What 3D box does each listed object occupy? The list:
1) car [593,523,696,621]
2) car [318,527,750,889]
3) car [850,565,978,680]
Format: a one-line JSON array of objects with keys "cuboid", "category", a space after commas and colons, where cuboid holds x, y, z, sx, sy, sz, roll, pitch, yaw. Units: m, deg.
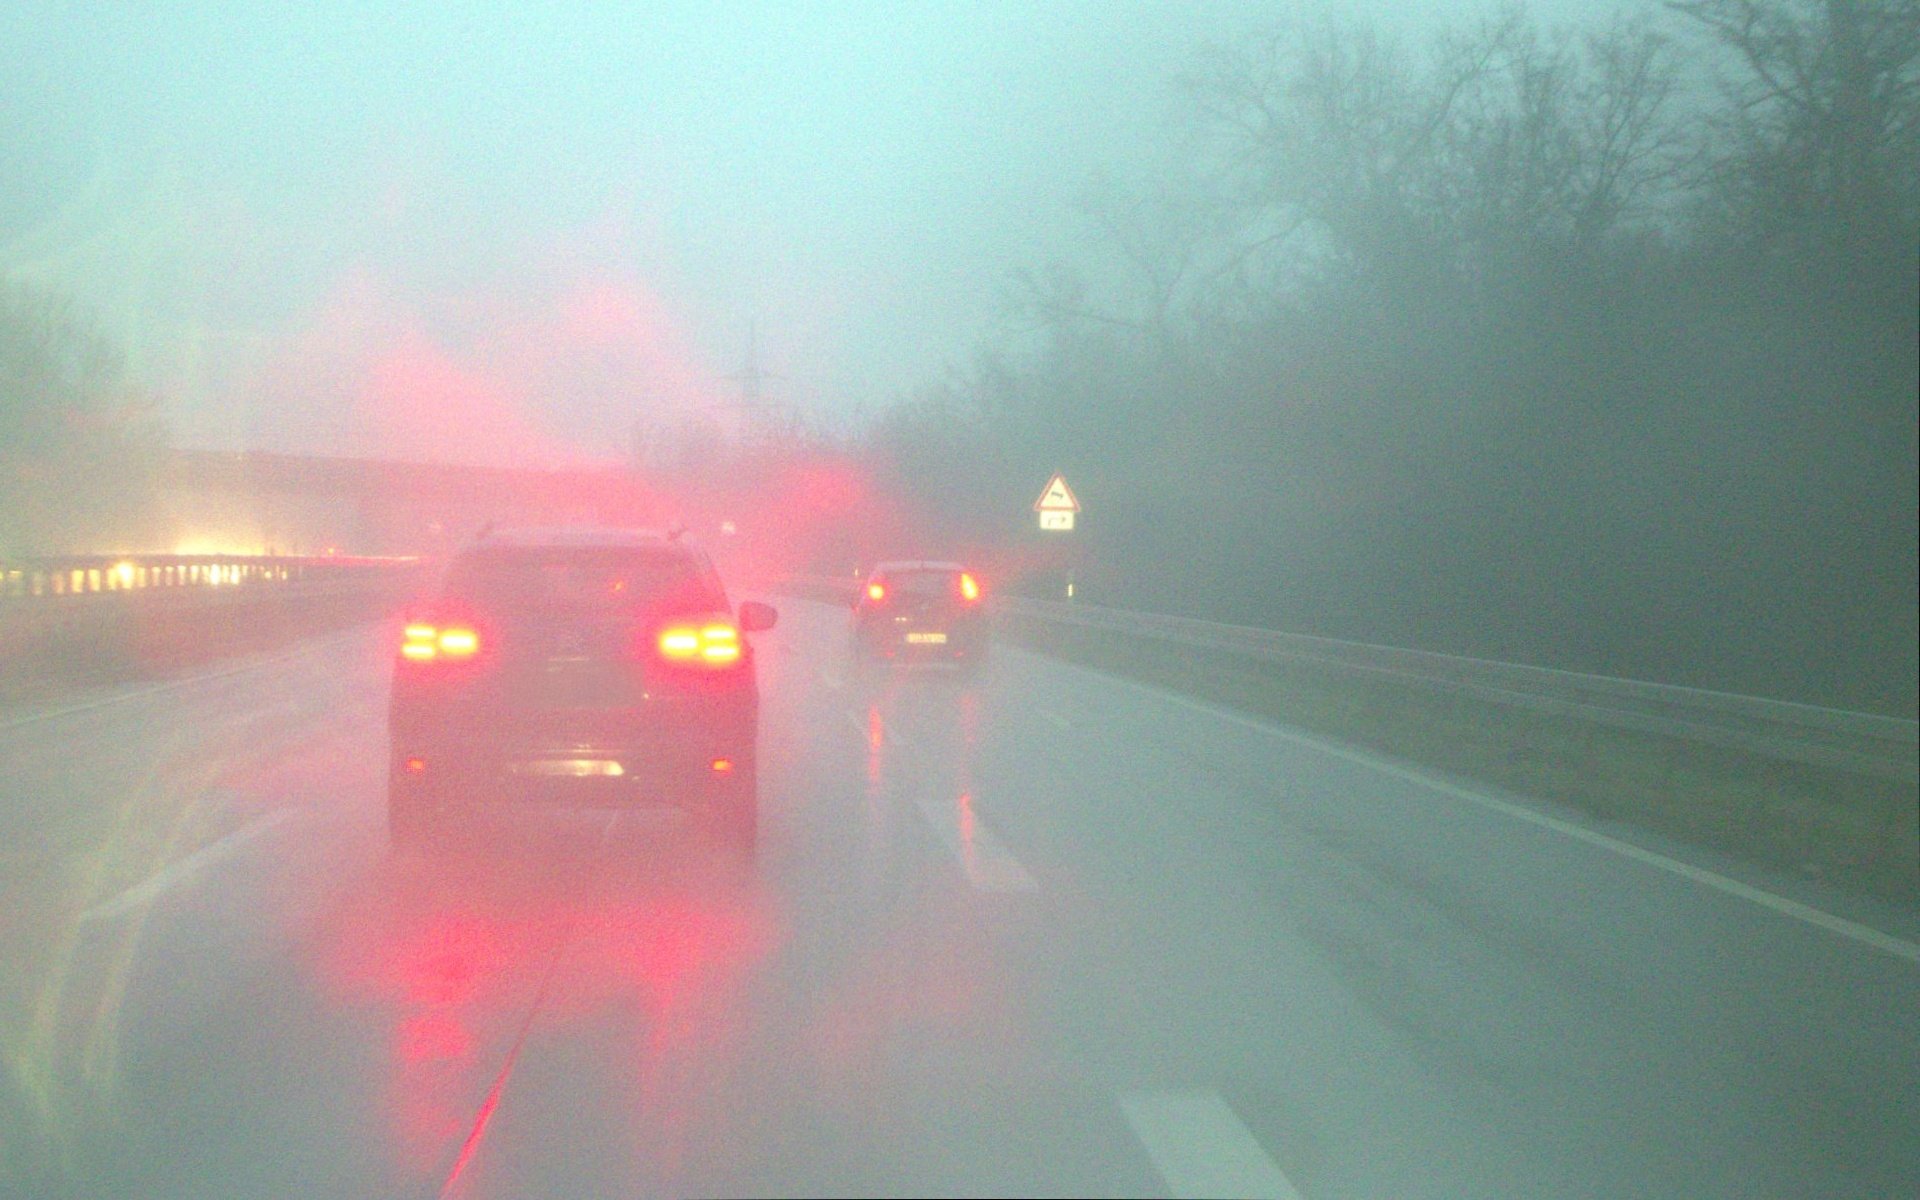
[{"cuboid": [-6.640, -0.596, 72.768, 1.993, 2.007, 4.001, 0, 1, -3], "category": "car"}, {"cuboid": [-2.144, 0.495, 18.291, 1.992, 1.709, 3.830, 0, 1, -3], "category": "car"}, {"cuboid": [-0.586, 0.256, 44.013, 1.569, 1.403, 3.646, 1, 1, -1], "category": "car"}]
